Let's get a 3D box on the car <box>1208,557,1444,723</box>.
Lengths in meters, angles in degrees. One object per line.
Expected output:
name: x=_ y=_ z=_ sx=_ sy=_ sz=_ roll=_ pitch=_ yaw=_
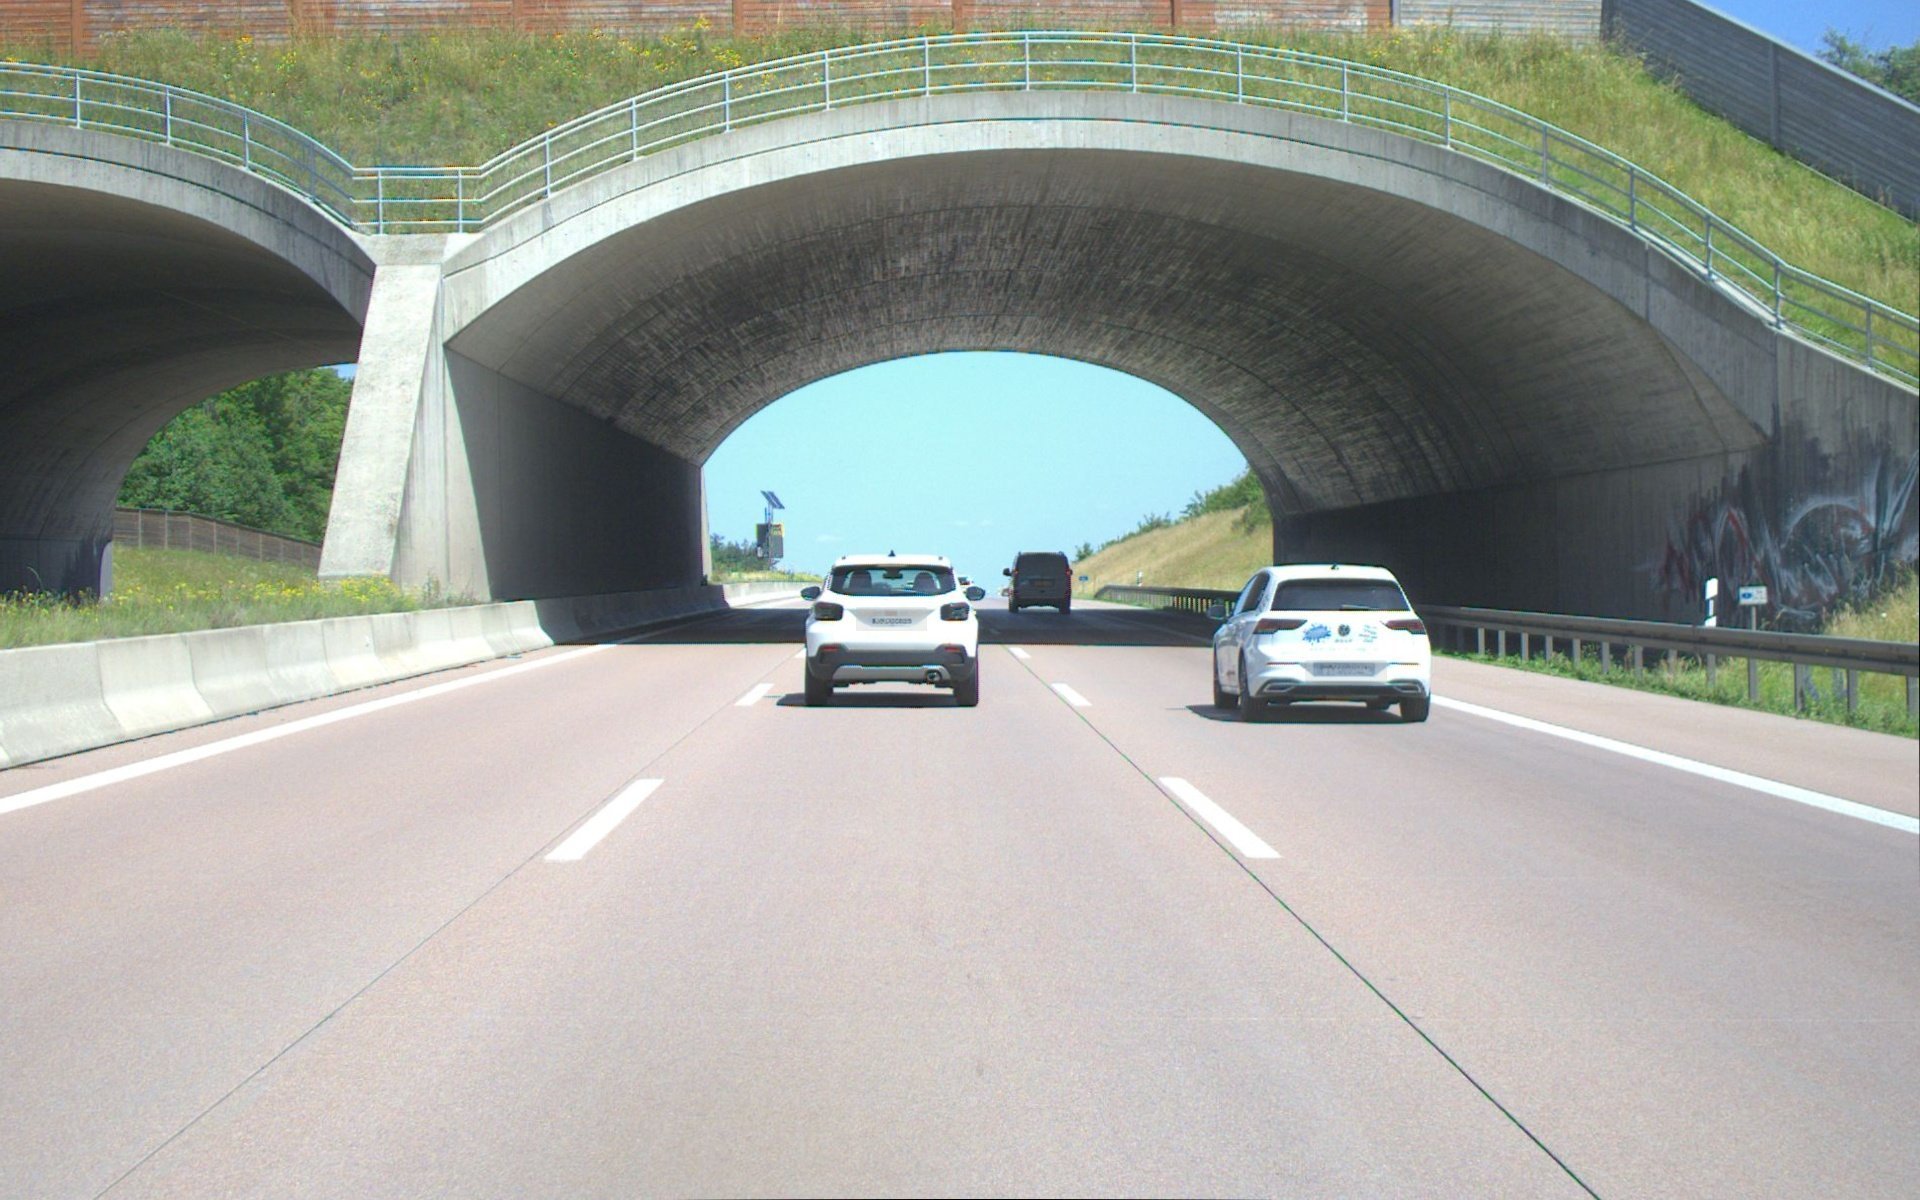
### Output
car: x=3.453 y=0.336 z=33.067 sx=1.891 sy=1.393 sz=4.000 roll=1 pitch=2 yaw=1

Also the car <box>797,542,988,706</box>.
car: x=-0.703 y=0.211 z=36.289 sx=1.879 sy=1.602 sz=4.834 roll=0 pitch=1 yaw=-1

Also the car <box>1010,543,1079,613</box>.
car: x=2.668 y=-0.709 z=108.398 sx=2.110 sy=2.046 sz=4.000 roll=0 pitch=2 yaw=1
